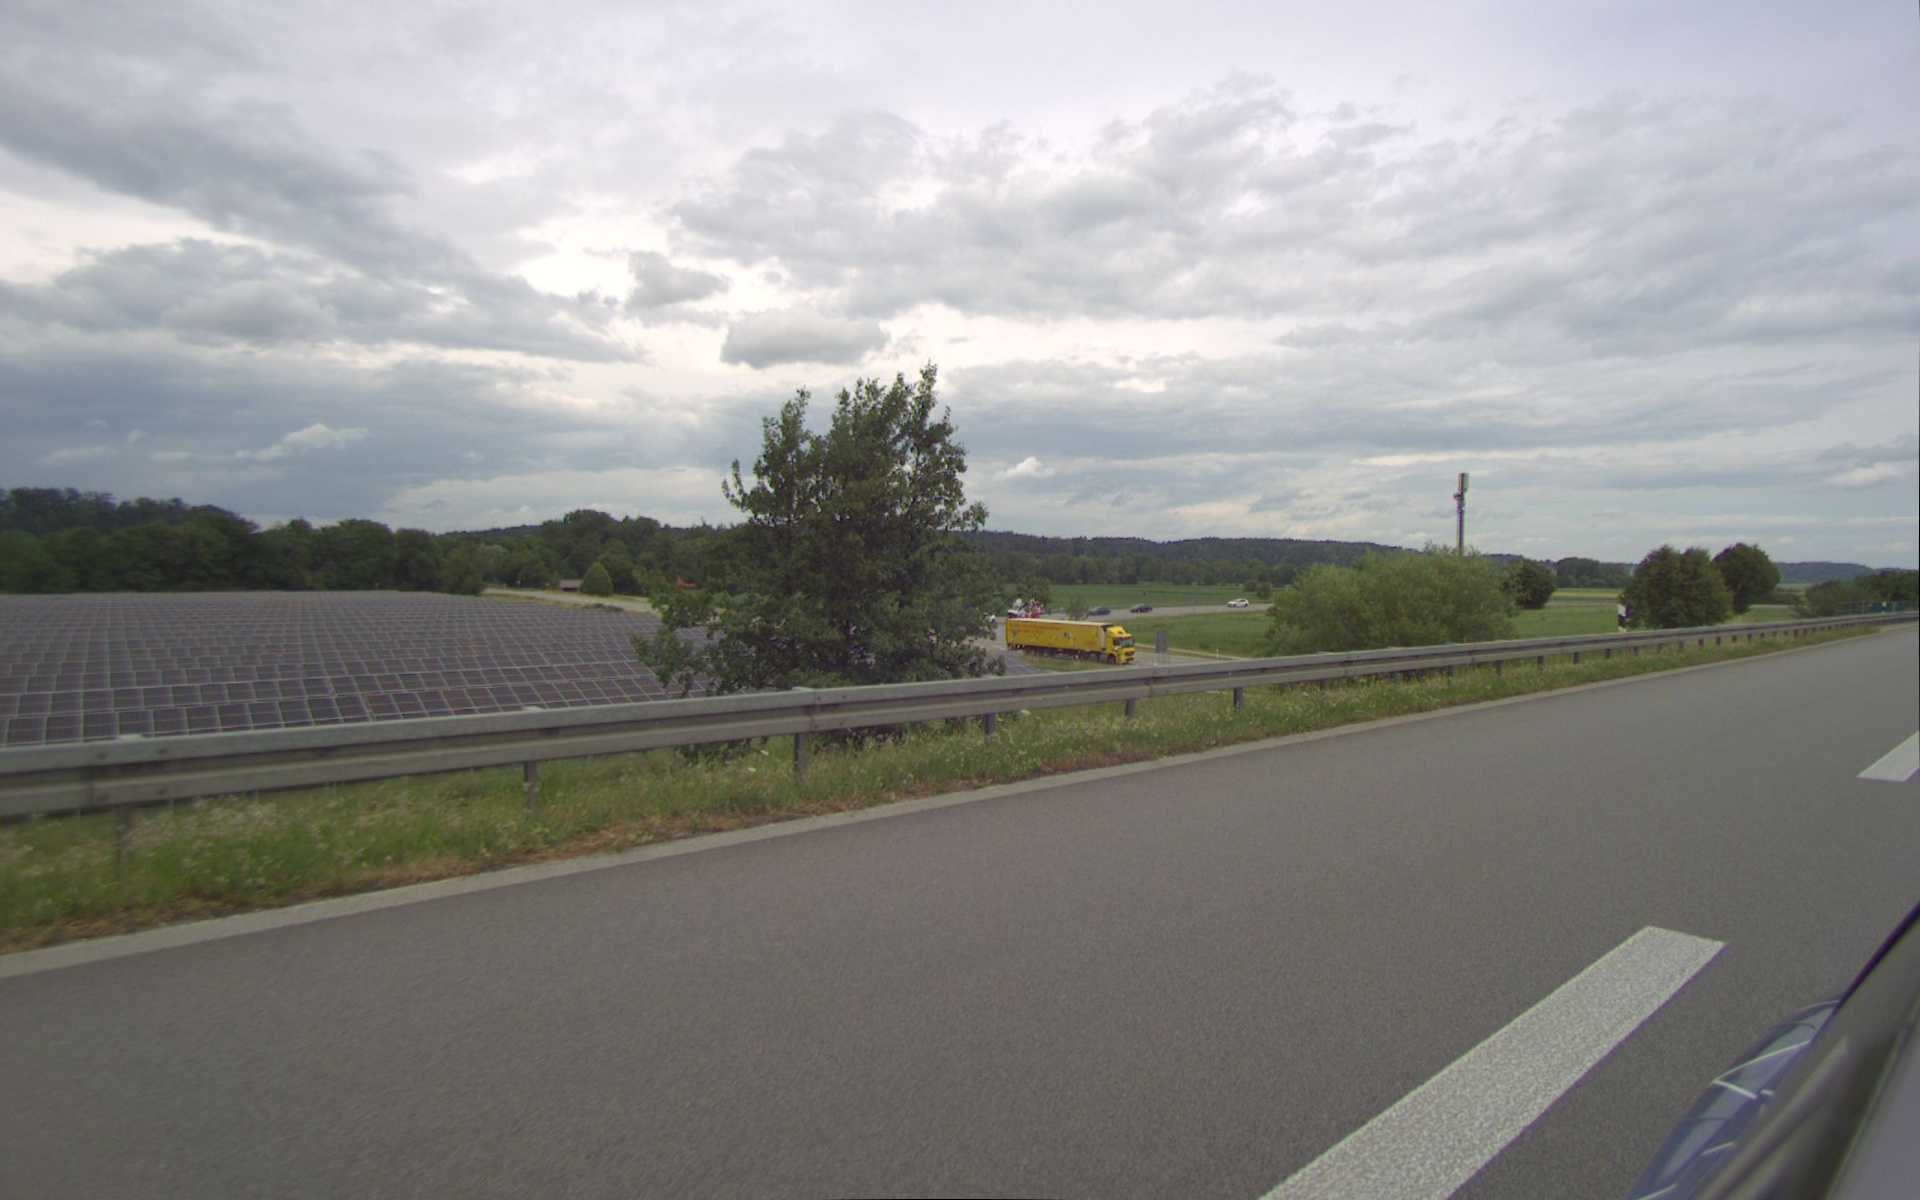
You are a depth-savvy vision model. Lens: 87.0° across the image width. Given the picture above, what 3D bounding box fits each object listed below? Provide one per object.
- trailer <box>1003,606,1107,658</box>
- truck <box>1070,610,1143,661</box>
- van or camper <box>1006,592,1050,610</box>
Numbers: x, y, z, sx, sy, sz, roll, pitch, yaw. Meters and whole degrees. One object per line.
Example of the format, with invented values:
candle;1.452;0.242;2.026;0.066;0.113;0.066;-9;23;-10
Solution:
trailer;10.042;3.315;109.062;2.969;4.847;12.282;1;1;-43
truck;14.961;3.541;103.892;2.969;4.847;7.125;1;1;-43
van or camper;11.525;0.167;170.801;6.982;2.946;2.805;-1;-3;-28
